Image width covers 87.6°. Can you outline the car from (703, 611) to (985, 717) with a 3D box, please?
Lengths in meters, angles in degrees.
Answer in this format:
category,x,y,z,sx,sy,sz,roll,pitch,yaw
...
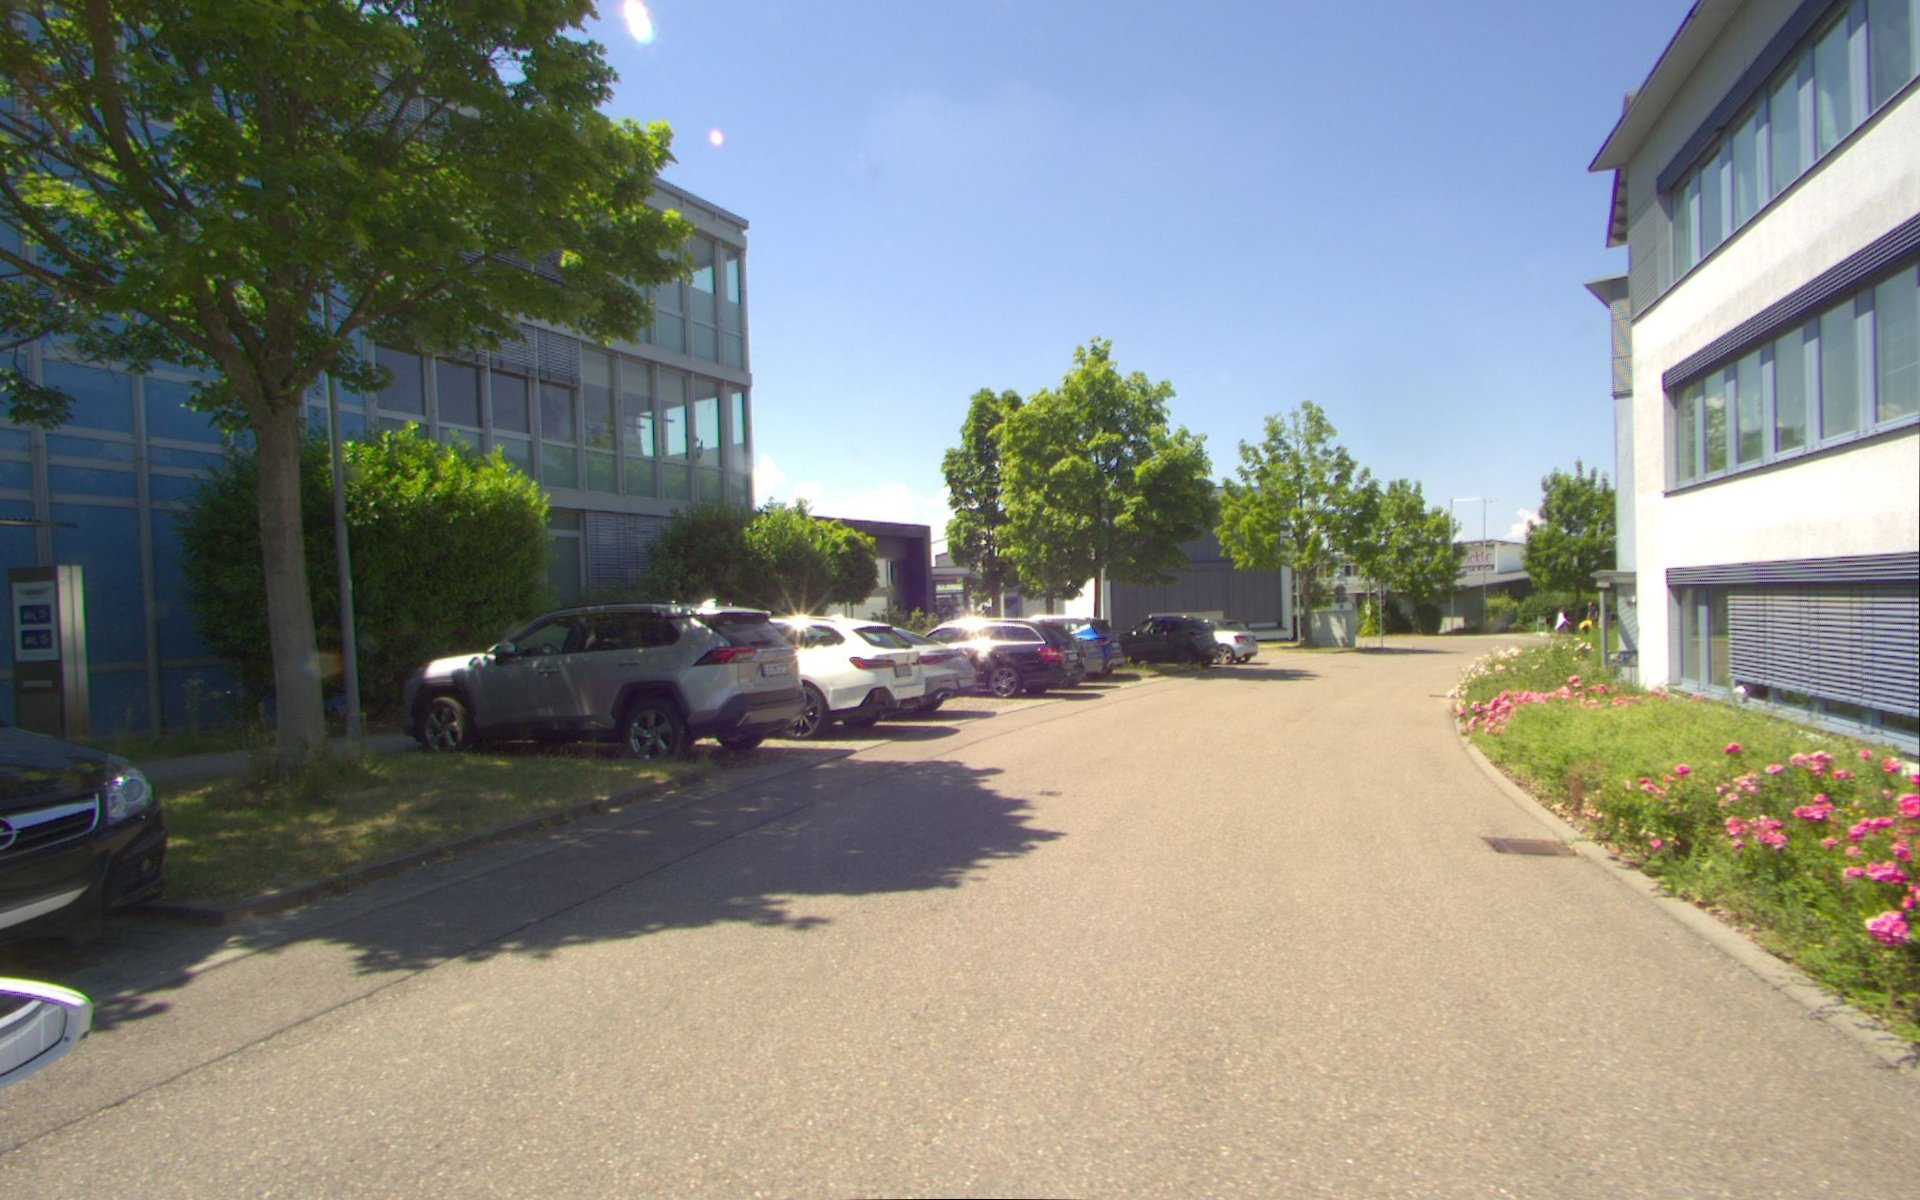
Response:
category,x,y,z,sx,sy,sz,roll,pitch,yaw
car,-1.802,0.938,15.714,4.103,1.505,1.658,0,-1,19

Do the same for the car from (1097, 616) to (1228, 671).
category,x,y,z,sx,sy,sz,roll,pitch,yaw
car,6.094,1.276,30.243,3.543,1.545,1.625,0,-1,37

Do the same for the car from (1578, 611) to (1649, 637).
category,x,y,z,sx,sy,sz,roll,pitch,yaw
car,38.665,1.447,59.293,1.562,1.461,3.208,-1,-1,-19

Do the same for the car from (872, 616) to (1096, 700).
category,x,y,z,sx,sy,sz,roll,pitch,yaw
car,0.458,1.068,19.738,4.111,1.505,1.655,0,-1,26

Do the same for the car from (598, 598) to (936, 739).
category,x,y,z,sx,sy,sz,roll,pitch,yaw
car,-2.537,0.829,13.278,4.128,1.664,1.658,0,-1,19

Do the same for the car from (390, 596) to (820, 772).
category,x,y,z,sx,sy,sz,roll,pitch,yaw
car,-3.878,0.816,11.057,4.255,1.664,1.854,0,-1,19

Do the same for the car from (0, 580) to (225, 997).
category,x,y,z,sx,sy,sz,roll,pitch,yaw
car,-5.775,0.760,4.394,4.483,1.569,1.762,-1,-1,17

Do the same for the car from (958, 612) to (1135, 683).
category,x,y,z,sx,sy,sz,roll,pitch,yaw
car,2.109,1.127,24.882,4.118,1.626,1.652,0,-1,33

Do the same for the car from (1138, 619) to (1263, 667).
category,x,y,z,sx,sy,sz,roll,pitch,yaw
car,7.670,1.333,32.009,3.543,1.462,1.625,0,-1,37

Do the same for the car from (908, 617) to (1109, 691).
category,x,y,z,sx,sy,sz,roll,pitch,yaw
car,1.072,1.129,21.983,4.104,1.505,1.658,0,-1,19
